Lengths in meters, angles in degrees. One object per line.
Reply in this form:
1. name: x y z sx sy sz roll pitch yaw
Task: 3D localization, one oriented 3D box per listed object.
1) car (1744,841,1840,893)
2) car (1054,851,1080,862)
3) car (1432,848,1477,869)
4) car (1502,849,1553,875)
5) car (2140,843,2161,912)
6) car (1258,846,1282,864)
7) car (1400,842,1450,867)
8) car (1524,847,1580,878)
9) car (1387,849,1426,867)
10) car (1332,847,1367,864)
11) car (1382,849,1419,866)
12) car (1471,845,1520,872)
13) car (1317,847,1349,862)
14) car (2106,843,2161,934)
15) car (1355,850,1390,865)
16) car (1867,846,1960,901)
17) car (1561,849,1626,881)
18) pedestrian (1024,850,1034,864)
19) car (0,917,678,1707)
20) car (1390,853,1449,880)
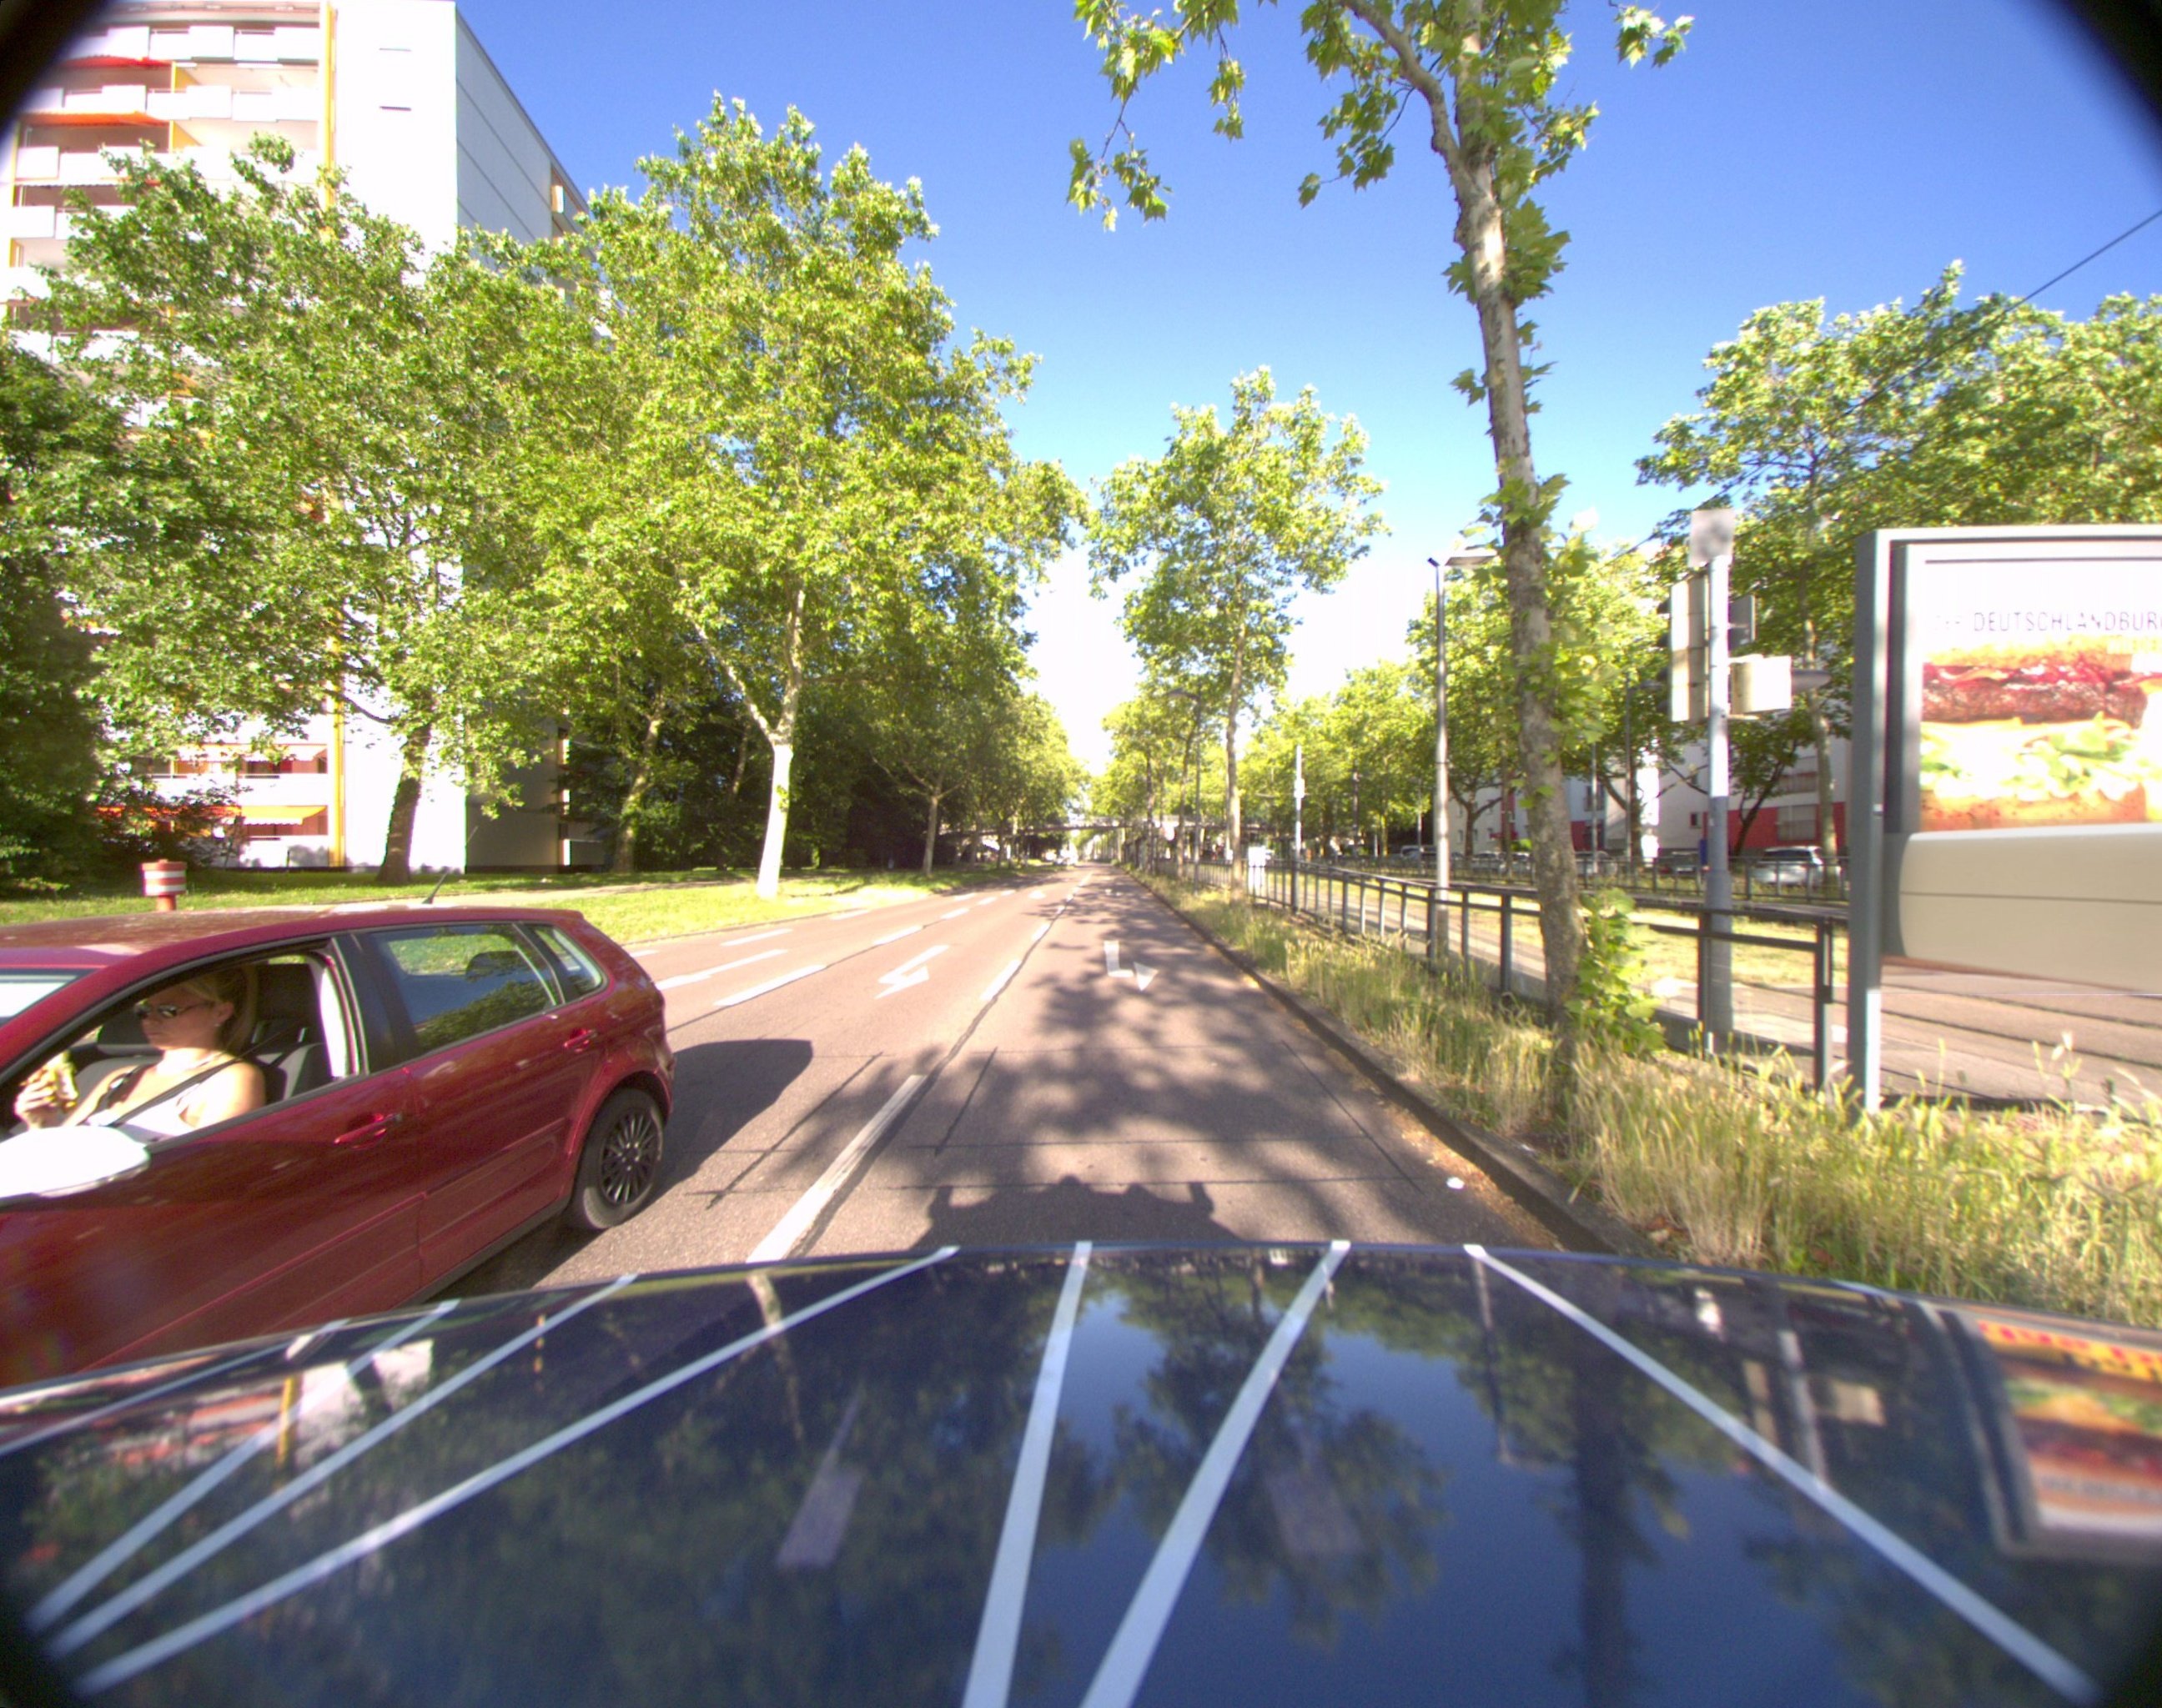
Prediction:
1. car: 25.220 0.414 26.926 4.007 1.586 1.810 -3 1 -37
2. car: -2.243 0.402 123.472 4.007 1.465 1.794 -3 1 -41
3. car: 26.730 0.297 54.329 3.494 1.395 1.623 -1 1 -41
4. car: 26.234 0.434 44.592 3.493 1.321 1.476 -3 0 -41
5. car: 24.625 0.539 16.285 4.007 1.479 1.689 -3 1 -44
6. car: 21.619 0.108 87.128 1.795 1.980 4.653 -1 0 3
7. car: 25.844 0.036 57.093 4.056 1.802 1.864 -1 1 -40
8. car: 25.696 0.451 41.418 3.402 1.499 1.461 -3 1 -37
9. car: 25.858 0.287 60.340 3.494 1.336 1.476 -1 1 -41
10. car: 26.044 0.119 73.593 3.835 1.561 1.597 -1 1 -43
11. car: 26.934 0.282 64.017 3.494 1.293 1.476 -1 1 -41
12. car: 25.898 0.277 47.414 3.493 1.417 1.558 -3 -1 -42
13. car: 26.574 0.090 79.961 3.742 1.517 1.597 -1 1 -43
14. car: 18.838 0.576 11.189 1.810 1.514 4.331 -1 0 4
15. car: 26.717 0.280 69.584 3.494 1.312 1.476 -1 1 -41
16. car: 25.235 0.551 22.997 3.770 1.420 1.555 -3 1 -37
17. car: 25.516 0.529 37.765 3.890 1.406 1.486 -3 1 -37
18. pedestrian: -7.321 0.410 106.834 0.964 2.002 0.917 -3 1 -41
19. car: -2.881 1.066 1.837 1.646 1.430 3.761 -2 1 2
20. car: 20.141 0.688 45.384 1.769 1.503 4.102 -1 0 1
